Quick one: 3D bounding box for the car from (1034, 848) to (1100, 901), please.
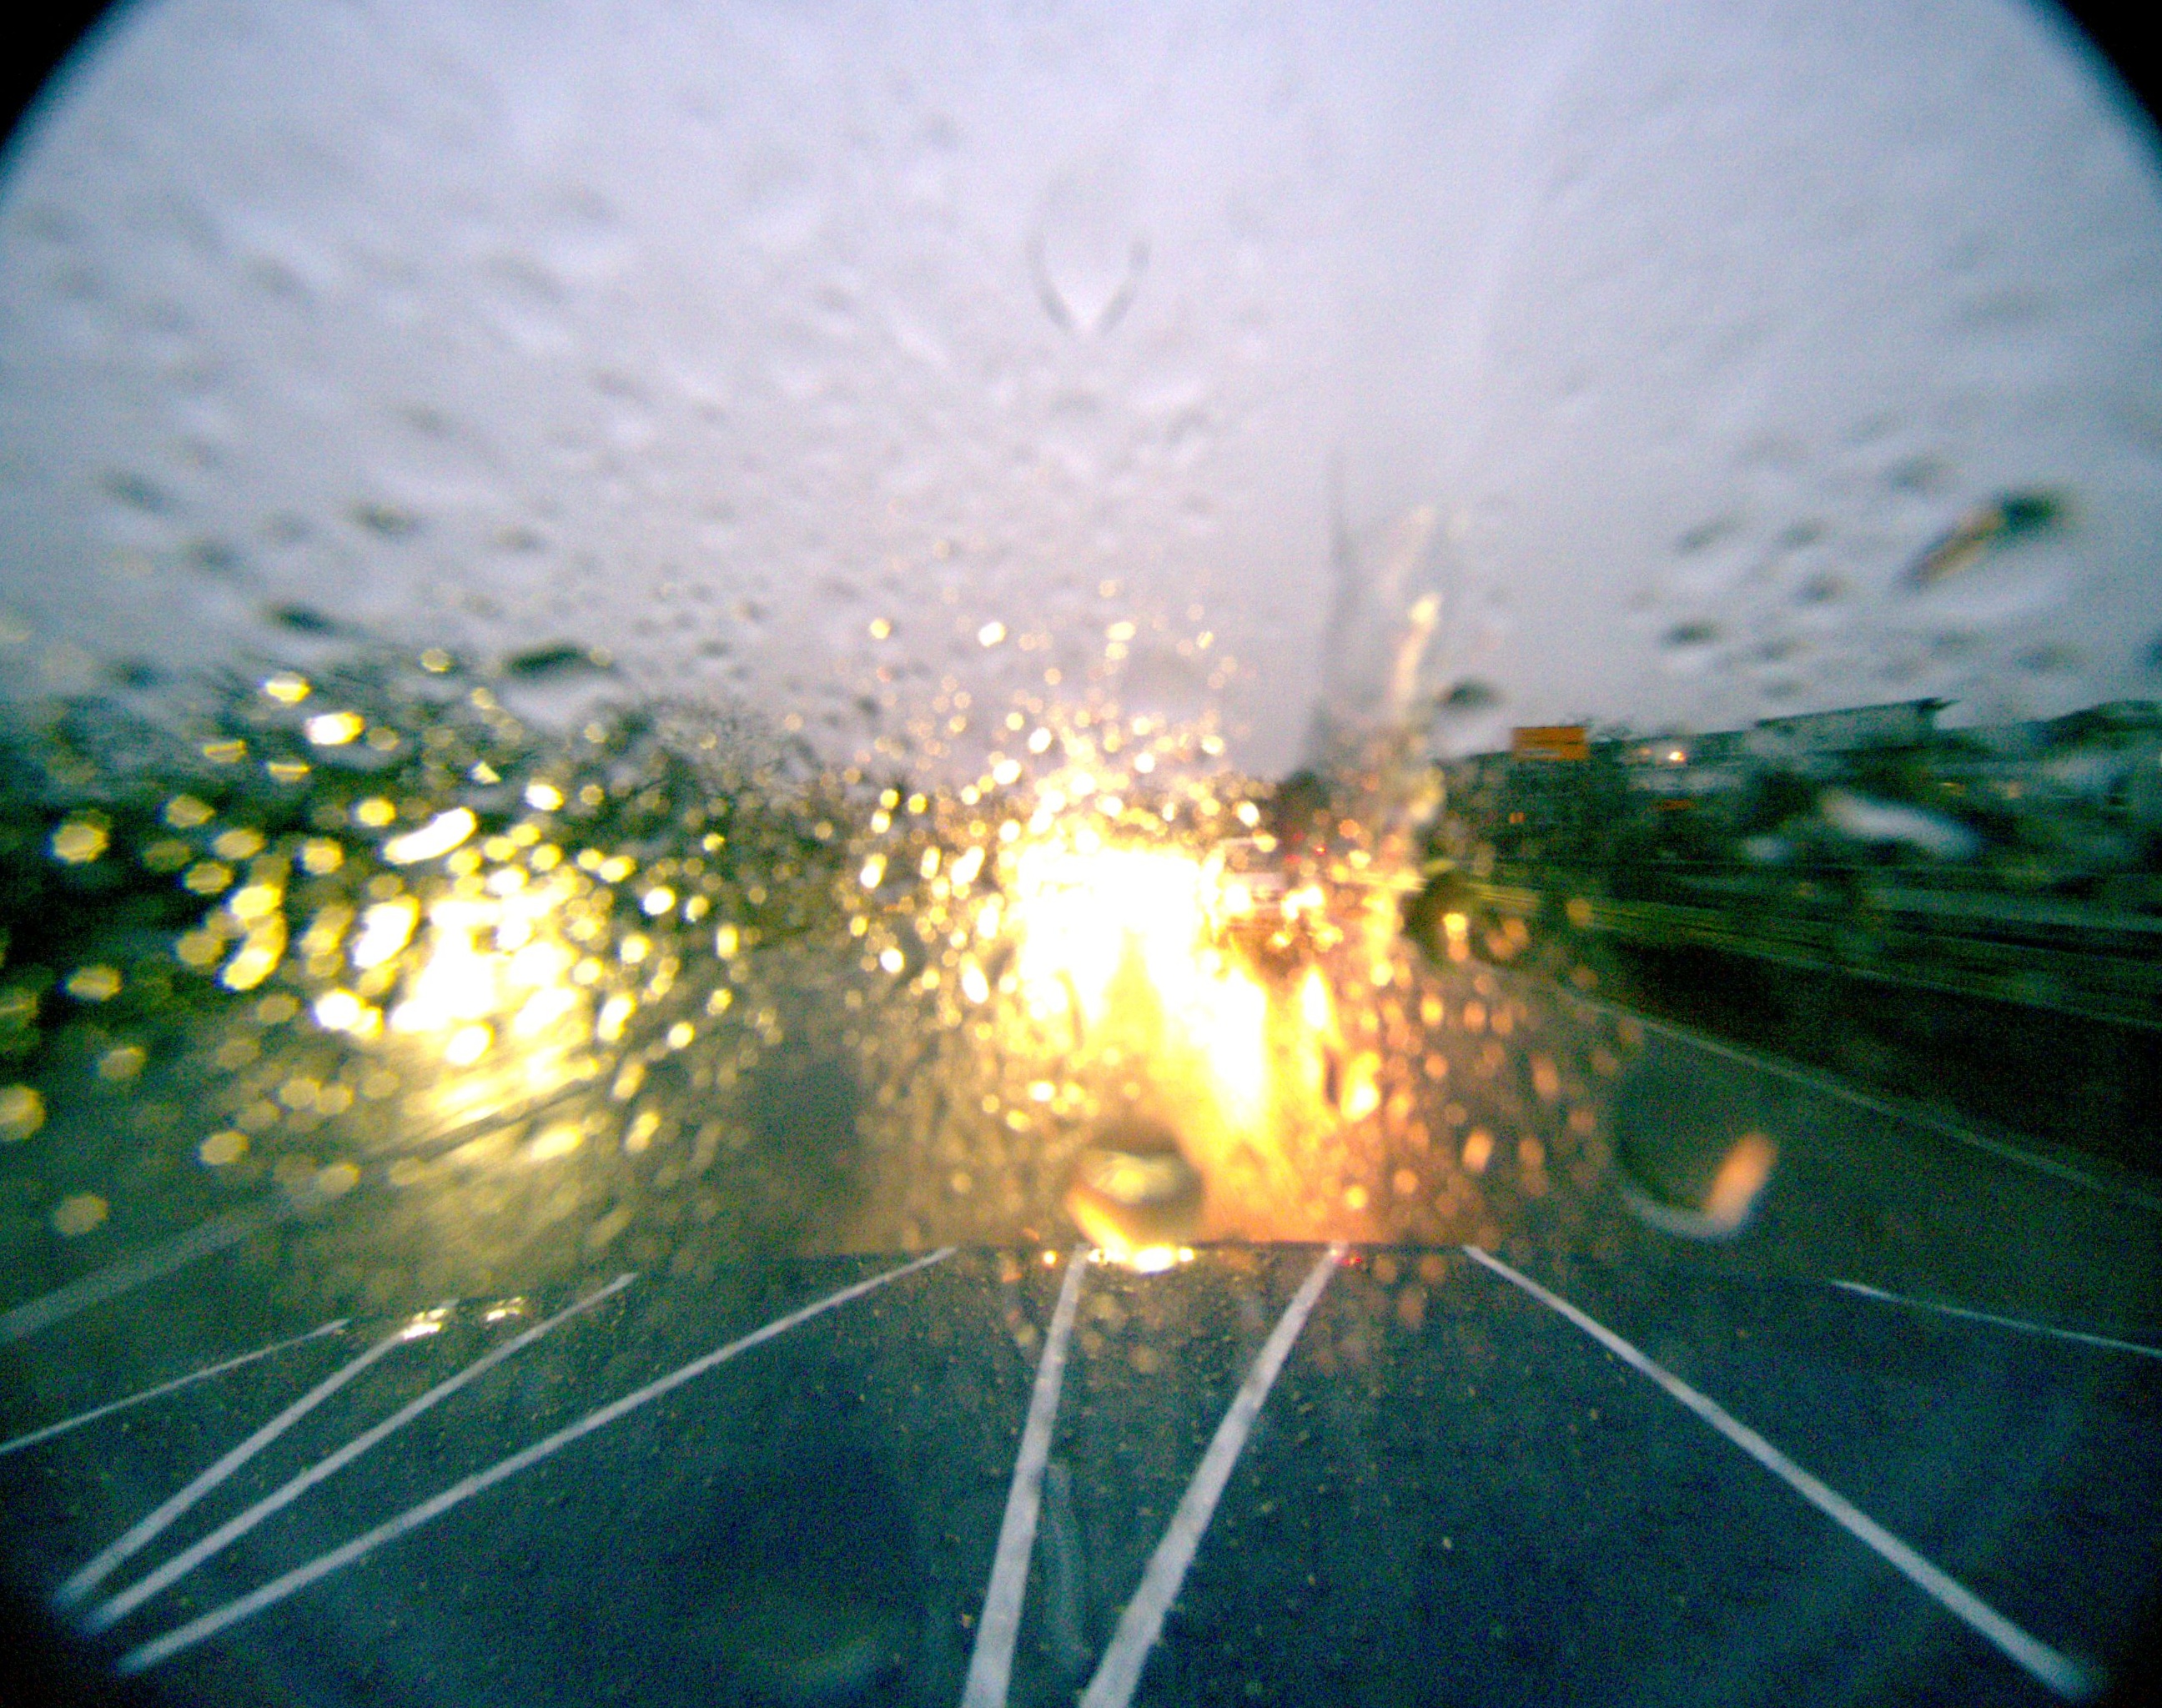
[{"bbox_3d":[-0.363,0.583,24.557,1.830,1.524,4.000,-1,1,3],"label":"car"}]

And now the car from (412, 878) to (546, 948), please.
[{"bbox_3d":[-14.340,1.294,18.012,4.384,1.351,1.939,-1,1,45],"label":"car"}]

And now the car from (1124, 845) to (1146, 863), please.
[{"bbox_3d":[5.140,-0.004,72.722,1.852,1.610,3.951,-2,1,1],"label":"car"}]

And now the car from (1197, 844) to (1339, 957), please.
[{"bbox_3d":[2.979,0.646,12.910,1.765,1.590,4.166,-1,1,6],"label":"car"}]

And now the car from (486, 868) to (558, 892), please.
[{"bbox_3d":[-39.086,1.802,53.155,3.798,1.426,1.724,-2,1,-44],"label":"car"}]

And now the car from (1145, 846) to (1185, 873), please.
[{"bbox_3d":[4.541,0.257,41.643,1.697,1.327,3.999,-2,1,0],"label":"car"}]

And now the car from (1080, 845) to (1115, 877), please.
[{"bbox_3d":[0.924,0.348,40.253,1.728,1.573,3.791,-1,1,3],"label":"car"}]

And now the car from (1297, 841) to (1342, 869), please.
[{"bbox_3d":[17.730,0.039,56.710,1.998,1.907,4.286,-2,1,1],"label":"car"}]

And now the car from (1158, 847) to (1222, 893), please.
[{"bbox_3d":[3.995,0.541,28.448,2.026,1.522,4.146,-1,1,4],"label":"car"}]
